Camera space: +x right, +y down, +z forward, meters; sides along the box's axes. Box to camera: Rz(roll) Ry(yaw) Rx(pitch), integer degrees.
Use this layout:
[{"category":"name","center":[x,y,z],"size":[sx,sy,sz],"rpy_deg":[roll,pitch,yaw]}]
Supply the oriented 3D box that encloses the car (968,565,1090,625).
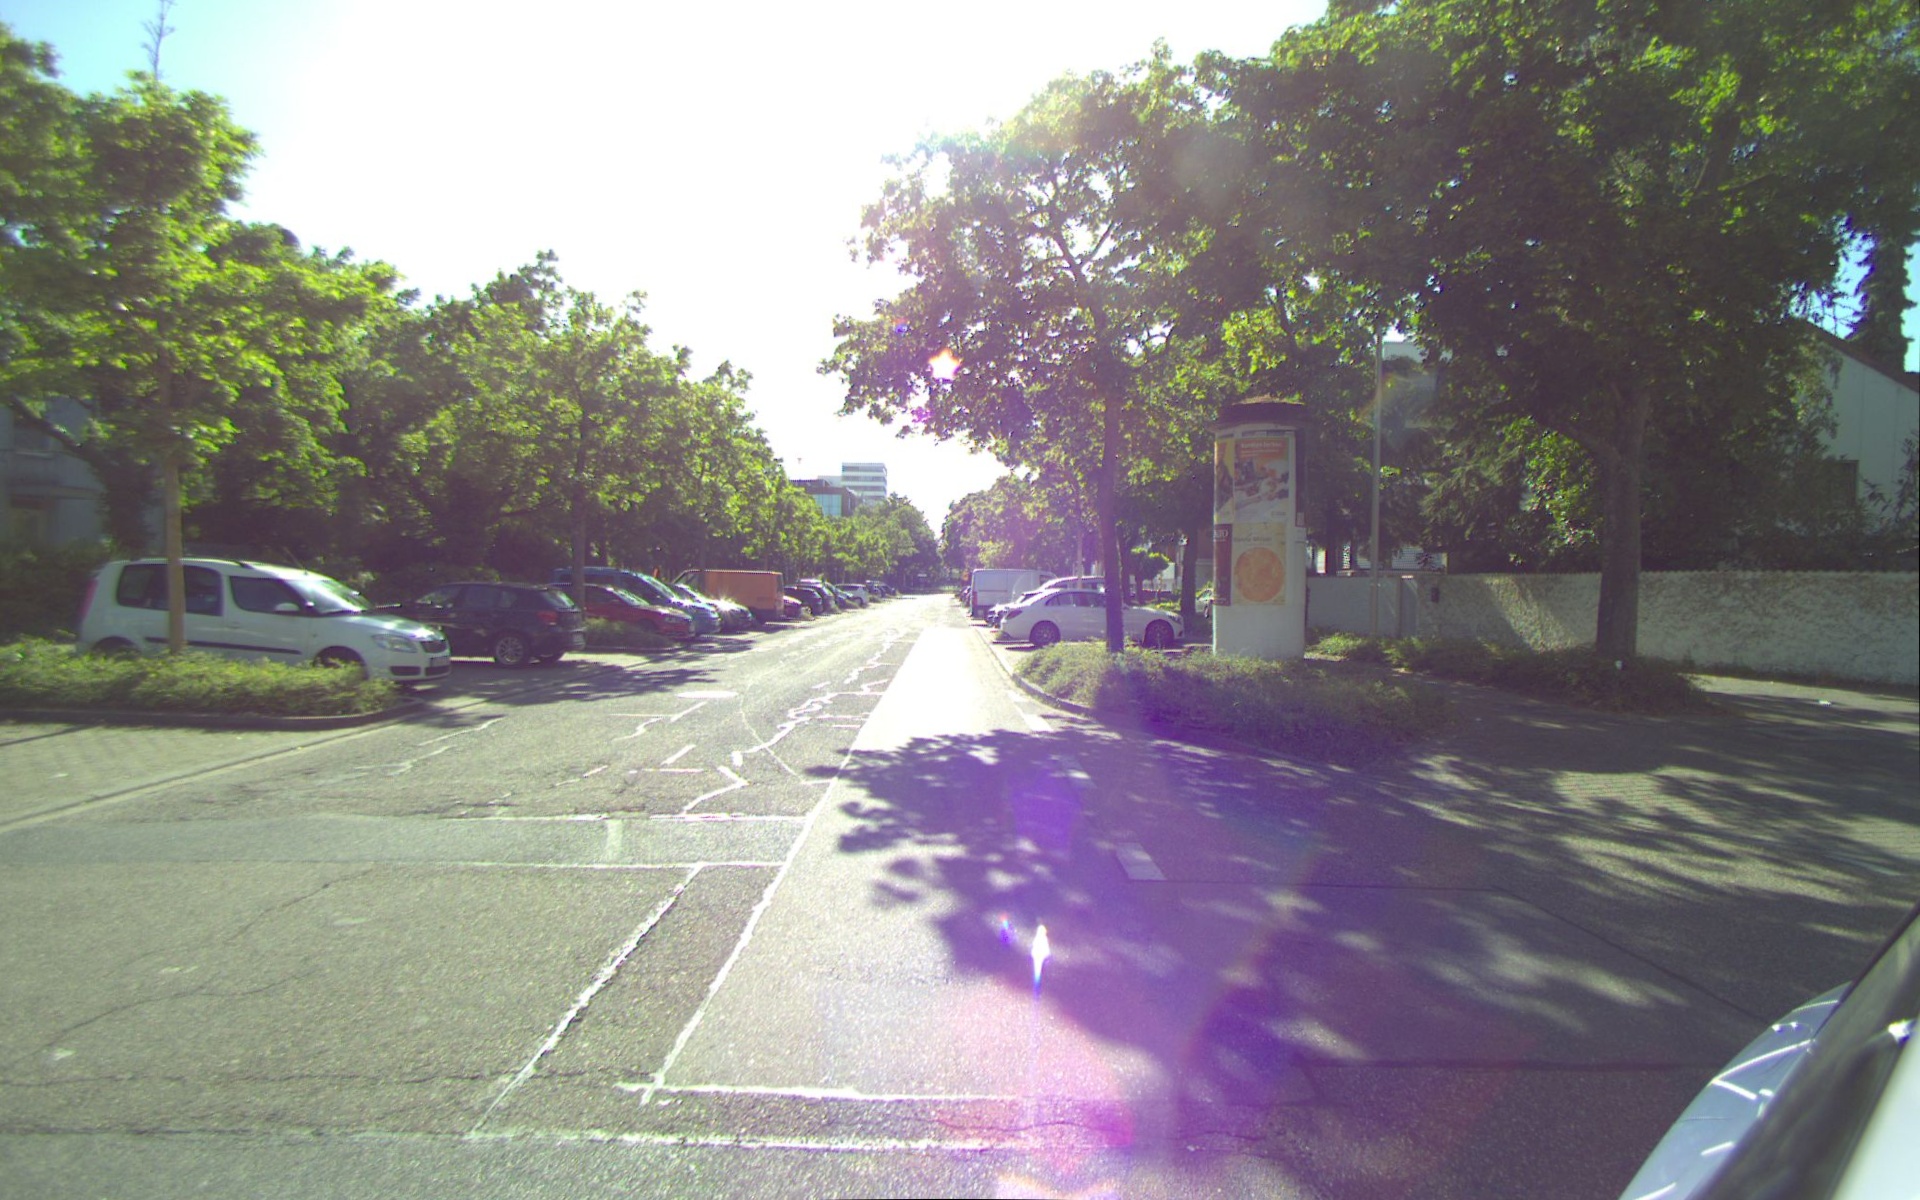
[{"category":"car","center":[2.897,-0.203,43.478],"size":[5.036,2.408,2.000],"rpy_deg":[1,0,-1]}]

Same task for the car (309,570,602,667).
[{"category":"car","center":[-8.519,0.286,17.357],"size":[4.087,1.423,1.830],"rpy_deg":[2,1,-2]}]

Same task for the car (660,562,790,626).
[{"category":"car","center":[-8.303,-0.225,36.042],"size":[4.178,2.057,1.975],"rpy_deg":[2,1,-2]}]

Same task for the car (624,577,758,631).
[{"category":"car","center":[-8.332,0.097,31.609],"size":[3.713,1.492,1.770],"rpy_deg":[2,1,-2]}]

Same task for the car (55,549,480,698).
[{"category":"car","center":[-8.559,0.260,12.809],"size":[4.087,1.618,1.830],"rpy_deg":[2,1,-2]}]

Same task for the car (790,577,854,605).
[{"category":"car","center":[-9.515,-0.645,70.210],"size":[4.178,1.737,1.975],"rpy_deg":[2,1,-2]}]

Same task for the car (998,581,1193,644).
[{"category":"car","center":[3.283,0.289,25.279],"size":[4.600,1.423,1.829],"rpy_deg":[-1,1,1]}]

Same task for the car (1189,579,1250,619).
[{"category":"car","center":[11.536,-0.095,45.249],"size":[1.802,1.634,4.141],"rpy_deg":[2,1,3]}]

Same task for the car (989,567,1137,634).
[{"category":"car","center":[3.288,0.015,32.940],"size":[4.547,2.016,2.000],"rpy_deg":[1,0,-1]}]

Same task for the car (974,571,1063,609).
[{"category":"car","center":[3.042,-0.525,53.109],"size":[4.478,1.853,2.000],"rpy_deg":[1,0,-1]}]

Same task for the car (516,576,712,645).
[{"category":"car","center":[-8.229,0.221,24.330],"size":[4.087,1.423,1.830],"rpy_deg":[2,1,-2]}]

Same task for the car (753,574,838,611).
[{"category":"car","center":[-8.662,-0.407,53.572],"size":[4.178,1.775,1.975],"rpy_deg":[2,1,-2]}]

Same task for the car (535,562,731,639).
[{"category":"car","center":[-8.563,-0.020,26.762],"size":[4.574,1.794,1.830],"rpy_deg":[2,1,-2]}]

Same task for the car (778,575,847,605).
[{"category":"car","center":[-9.547,-0.668,65.577],"size":[4.178,1.737,1.975],"rpy_deg":[2,1,-2]}]

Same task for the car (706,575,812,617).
[{"category":"car","center":[-8.575,-0.197,43.416],"size":[4.178,1.590,1.975],"rpy_deg":[2,1,-2]}]

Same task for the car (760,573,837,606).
[{"category":"car","center":[-9.365,-0.626,58.859],"size":[4.178,1.737,1.975],"rpy_deg":[2,1,-2]}]

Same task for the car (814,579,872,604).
[{"category":"car","center":[-8.926,-0.686,77.530],"size":[4.178,1.737,1.975],"rpy_deg":[2,1,-2]}]

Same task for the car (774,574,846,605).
[{"category":"car","center":[-9.284,-0.646,62.846],"size":[4.178,1.737,1.975],"rpy_deg":[2,1,-2]}]

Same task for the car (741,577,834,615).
[{"category":"car","center":[-8.323,-0.193,49.142],"size":[4.178,1.634,1.975],"rpy_deg":[2,1,-2]}]
